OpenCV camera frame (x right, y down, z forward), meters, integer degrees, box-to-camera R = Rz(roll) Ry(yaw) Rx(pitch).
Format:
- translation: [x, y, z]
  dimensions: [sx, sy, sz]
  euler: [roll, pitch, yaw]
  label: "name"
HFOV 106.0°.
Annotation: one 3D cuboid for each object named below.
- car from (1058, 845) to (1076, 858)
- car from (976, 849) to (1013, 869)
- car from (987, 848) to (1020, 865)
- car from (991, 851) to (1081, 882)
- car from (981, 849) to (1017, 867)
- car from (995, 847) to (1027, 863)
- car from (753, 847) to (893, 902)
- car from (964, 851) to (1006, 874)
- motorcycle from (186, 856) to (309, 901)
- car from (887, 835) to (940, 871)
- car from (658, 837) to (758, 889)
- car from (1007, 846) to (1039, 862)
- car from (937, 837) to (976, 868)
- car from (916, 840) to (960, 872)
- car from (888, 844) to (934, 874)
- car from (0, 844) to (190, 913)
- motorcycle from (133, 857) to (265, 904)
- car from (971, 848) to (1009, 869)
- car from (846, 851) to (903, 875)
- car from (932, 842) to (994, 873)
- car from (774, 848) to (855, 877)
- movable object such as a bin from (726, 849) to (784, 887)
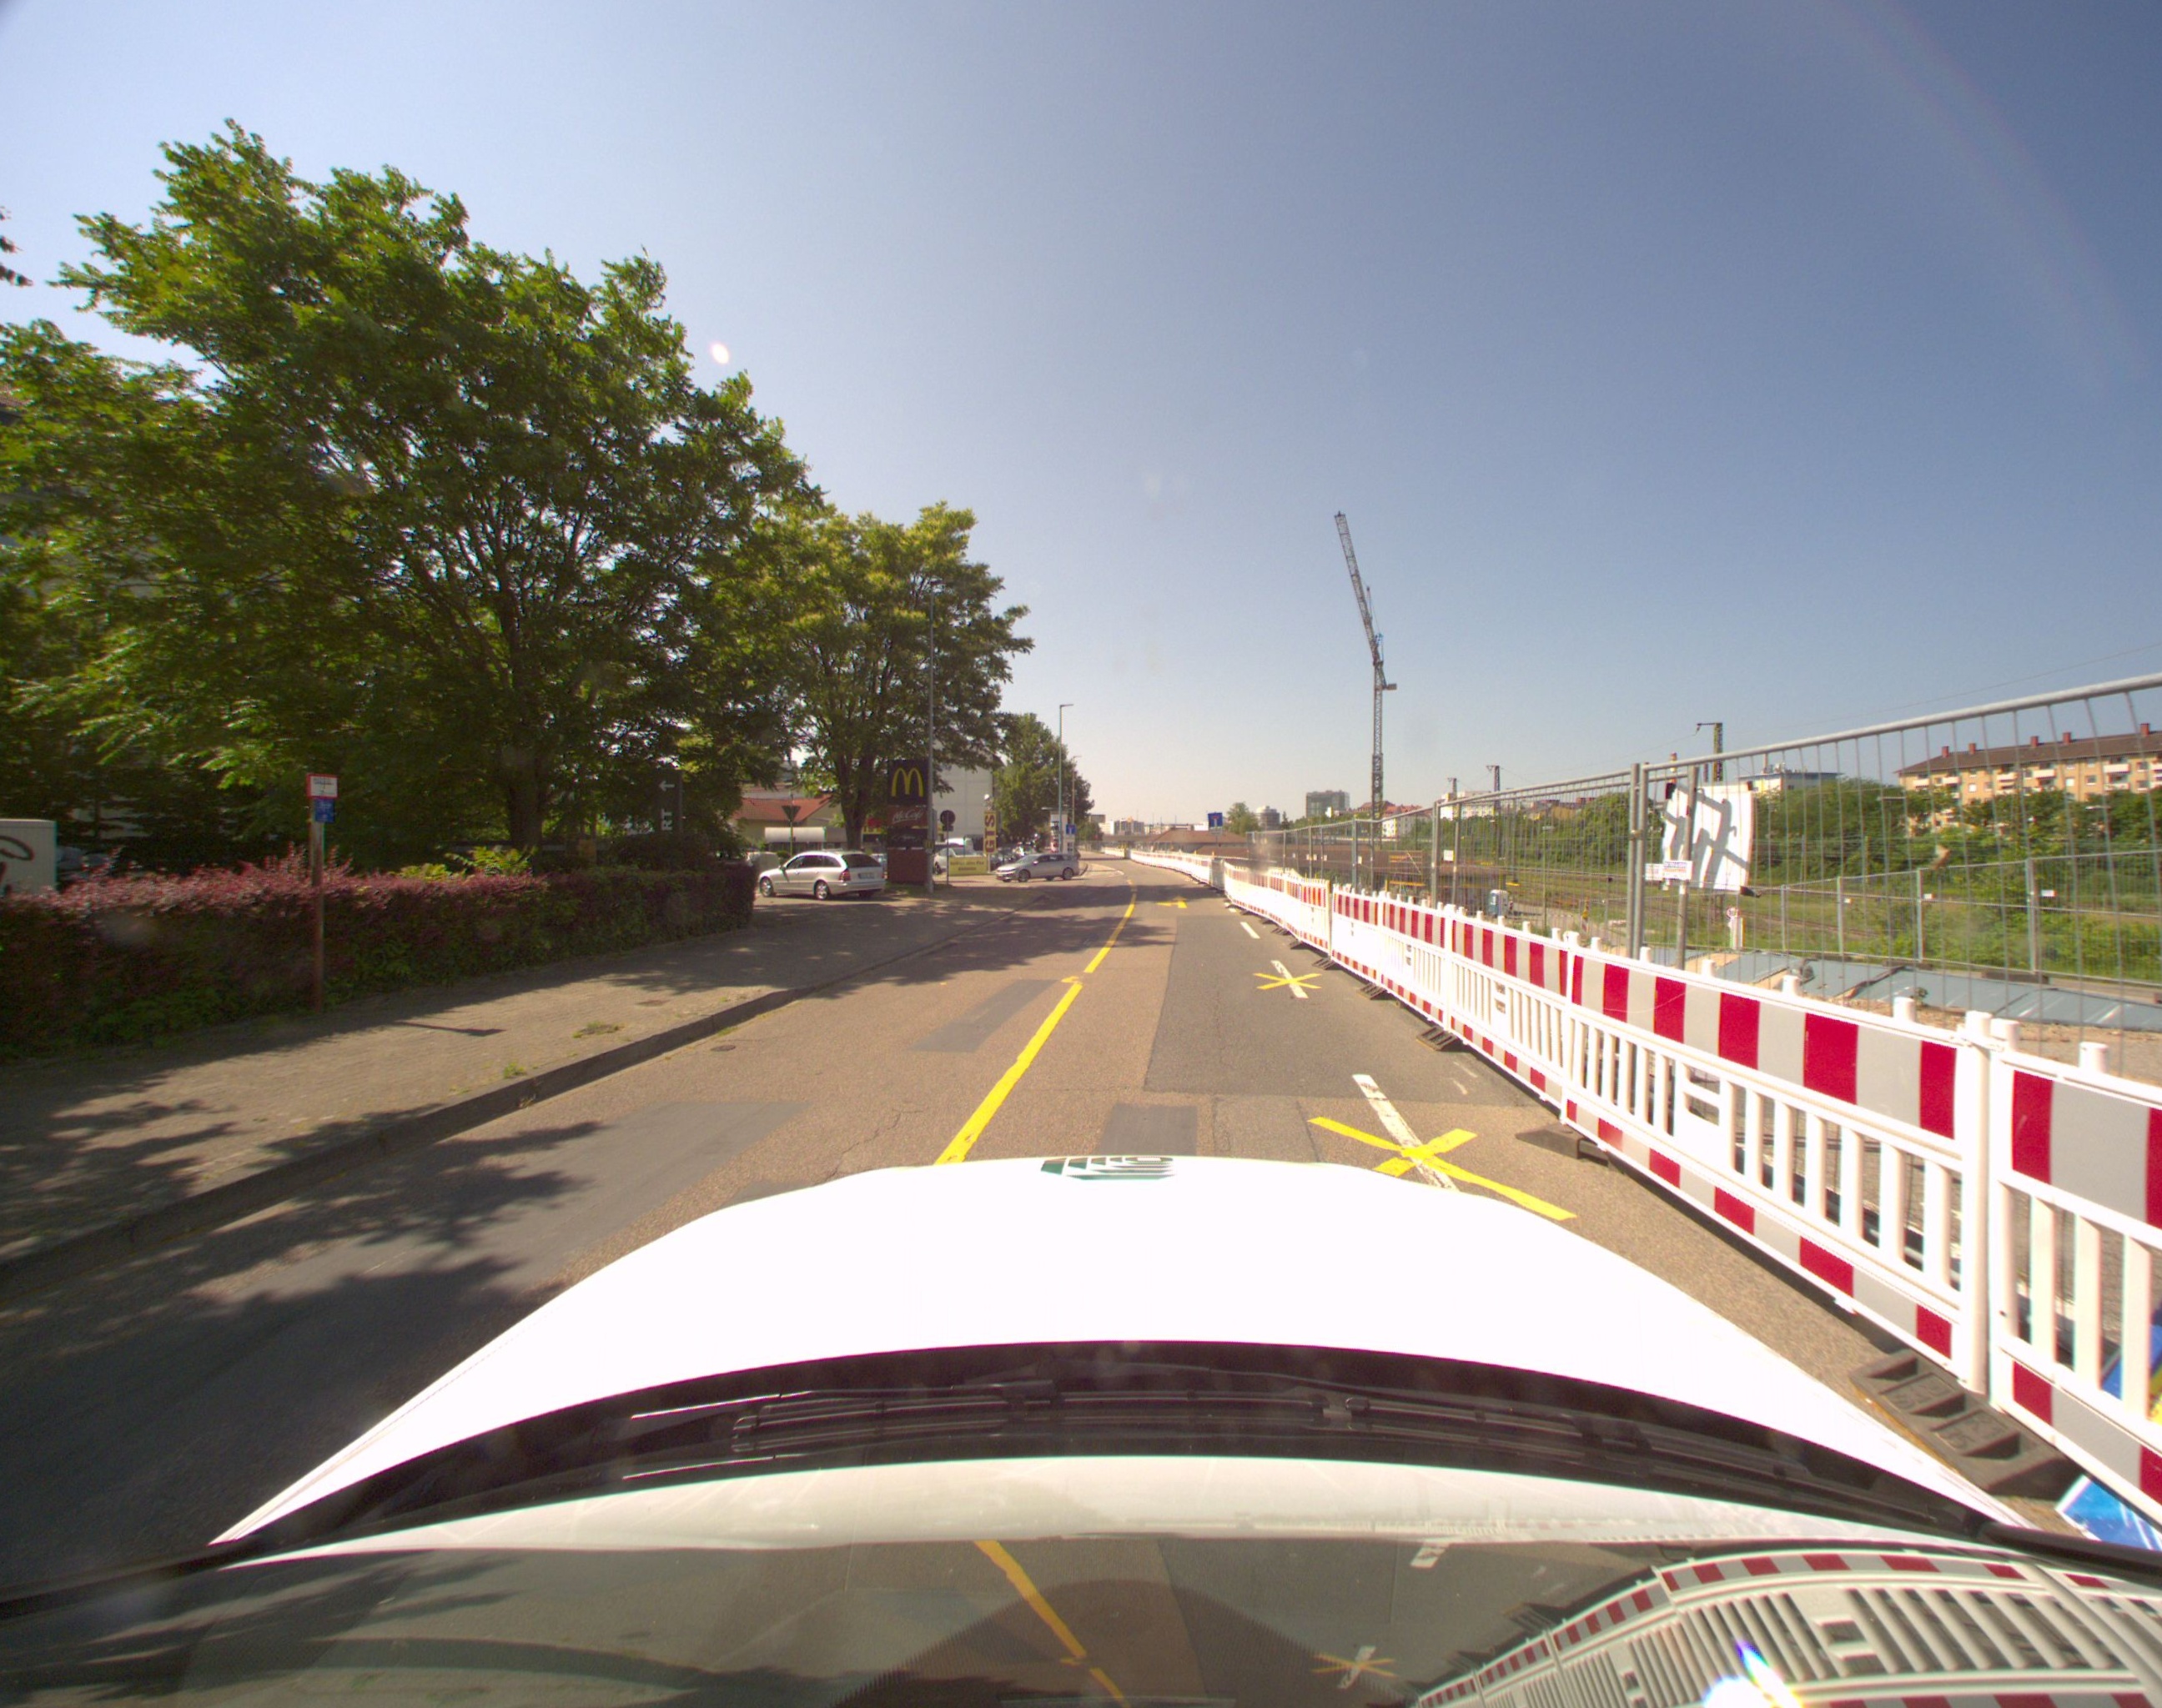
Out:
- translation: [-1.690, -0.296, 100.412]
  dimensions: [1.861, 1.498, 4.035]
  euler: [-1, 2, 3]
  label: "car"
- translation: [-7.233, 0.431, 67.955]
  dimensions: [1.789, 1.473, 3.966]
  euler: [-4, 1, -25]
  label: "car"
- translation: [-7.341, 0.280, 76.600]
  dimensions: [1.677, 1.473, 3.964]
  euler: [-3, 1, -28]
  label: "car"
- translation: [-2.275, 0.628, 42.503]
  dimensions: [4.630, 1.493, 1.663]
  euler: [-1, 0, -41]
  label: "car"
- translation: [-7.286, 0.364, 71.976]
  dimensions: [1.678, 1.473, 3.961]
  euler: [-3, 1, -30]
  label: "car"
- translation: [-6.993, 0.159, 81.253]
  dimensions: [1.677, 1.473, 3.964]
  euler: [-3, 1, -28]
  label: "car"
- translation: [-7.730, 0.540, 24.258]
  dimensions: [4.330, 1.403, 1.725]
  euler: [2, 2, 36]
  label: "car"
- translation: [-6.779, 0.564, 57.068]
  dimensions: [1.844, 1.473, 3.969]
  euler: [-3, 1, -23]
  label: "car"
- translation: [-21.635, 0.638, 21.194]
  dimensions: [2.184, 1.131, 0.566]
  euler: [1, 0, -21]
  label: "motorcycle"
- translation: [-13.475, -0.045, 65.918]
  dimensions: [2.264, 2.758, 6.165]
  euler: [-1, 0, 7]
  label: "car"
- translation: [-15.759, 0.402, 34.350]
  dimensions: [4.466, 1.920, 1.905]
  euler: [-3, 1, 38]
  label: "car"
- translation: [-6.079, 0.000, 84.796]
  dimensions: [1.786, 1.473, 3.964]
  euler: [-3, 1, -28]
  label: "car"
- translation: [-10.563, -0.140, 69.585]
  dimensions: [2.238, 2.430, 5.719]
  euler: [3, 0, 1]
  label: "car"
- translation: [-10.938, 0.175, 62.659]
  dimensions: [2.235, 2.350, 4.829]
  euler: [-1, -1, 4]
  label: "car"
- translation: [-10.644, 0.340, 50.715]
  dimensions: [2.051, 1.707, 4.282]
  euler: [-1, -1, -22]
  label: "car"
- translation: [-22.732, 0.513, 17.894]
  dimensions: [4.075, 1.387, 1.767]
  euler: [1, 0, -6]
  label: "car"
- translation: [-21.919, 0.662, 20.295]
  dimensions: [2.184, 1.116, 0.566]
  euler: [1, 0, -21]
  label: "motorcycle"
- translation: [-7.000, 0.326, 62.422]
  dimensions: [1.844, 1.473, 3.969]
  euler: [-3, 1, -23]
  label: "car"
- translation: [-14.443, 0.587, 57.316]
  dimensions: [1.895, 1.574, 4.704]
  euler: [0, 1, 13]
  label: "car"
- translation: [-7.577, 0.273, 51.915]
  dimensions: [1.990, 1.707, 4.614]
  euler: [-2, -2, -34]
  label: "car"
- translation: [-18.604, 0.553, 56.929]
  dimensions: [4.916, 1.842, 2.138]
  euler: [-1, 0, -38]
  label: "car"
- translation: [-14.314, 0.626, 35.828]
  dimensions: [1.754, 1.526, 1.464]
  euler: [-2, 2, 25]
  label: "movable object such as a bin"
